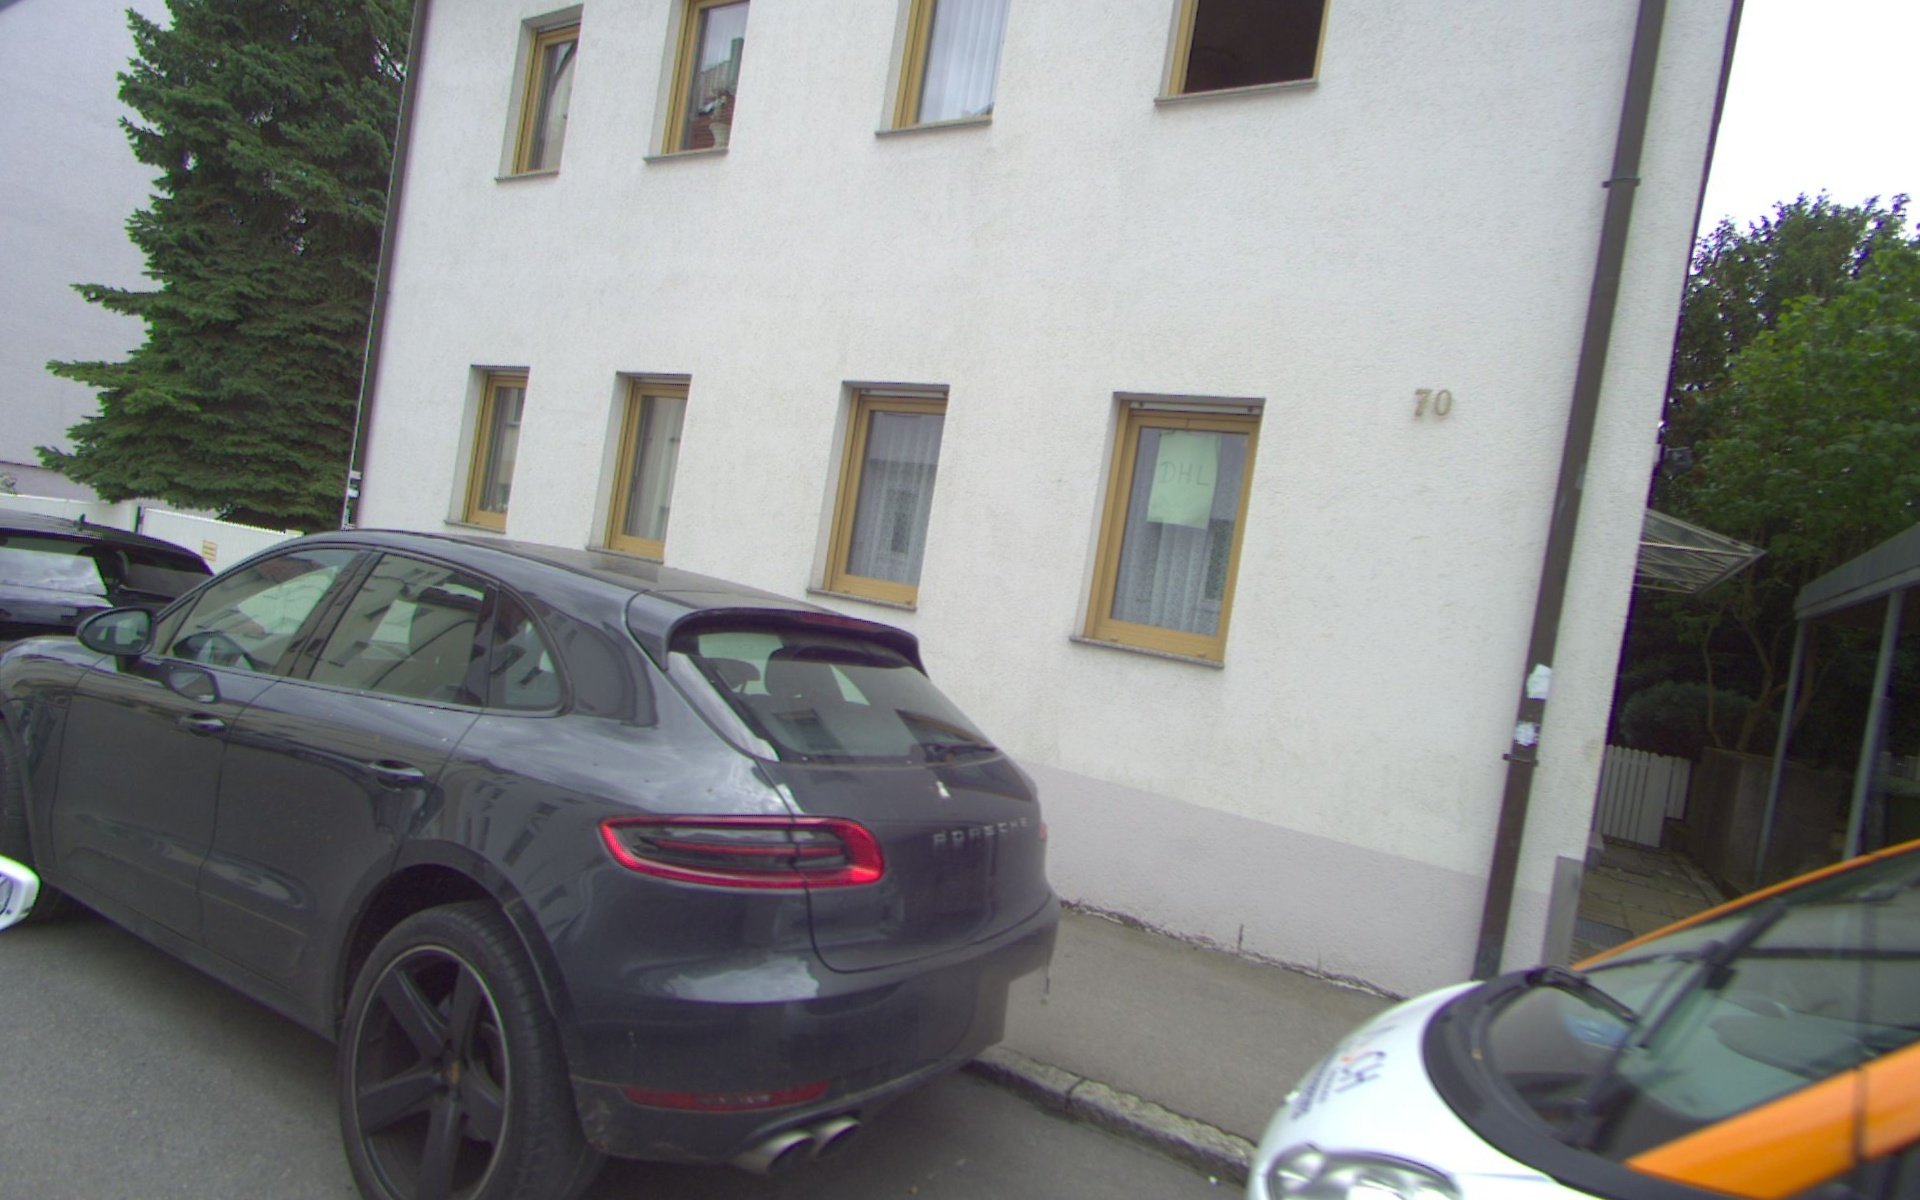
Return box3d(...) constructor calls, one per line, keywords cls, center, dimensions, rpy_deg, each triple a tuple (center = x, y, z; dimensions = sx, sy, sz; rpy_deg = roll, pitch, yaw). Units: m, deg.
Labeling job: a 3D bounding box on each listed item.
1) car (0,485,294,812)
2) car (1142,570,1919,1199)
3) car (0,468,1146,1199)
box3d(cls="car", center=(-6.151, 0.075, 6.229), dimensions=(4.005, 1.583, 1.719), rpy_deg=(7, -2, 32))
box3d(cls="car", center=(1.815, 0.984, 1.370), dimensions=(2.744, 1.614, 1.490), rpy_deg=(7, -2, 32))
box3d(cls="car", center=(-1.822, 0.589, 3.596), dimensions=(4.422, 1.614, 1.718), rpy_deg=(7, -2, 30))
